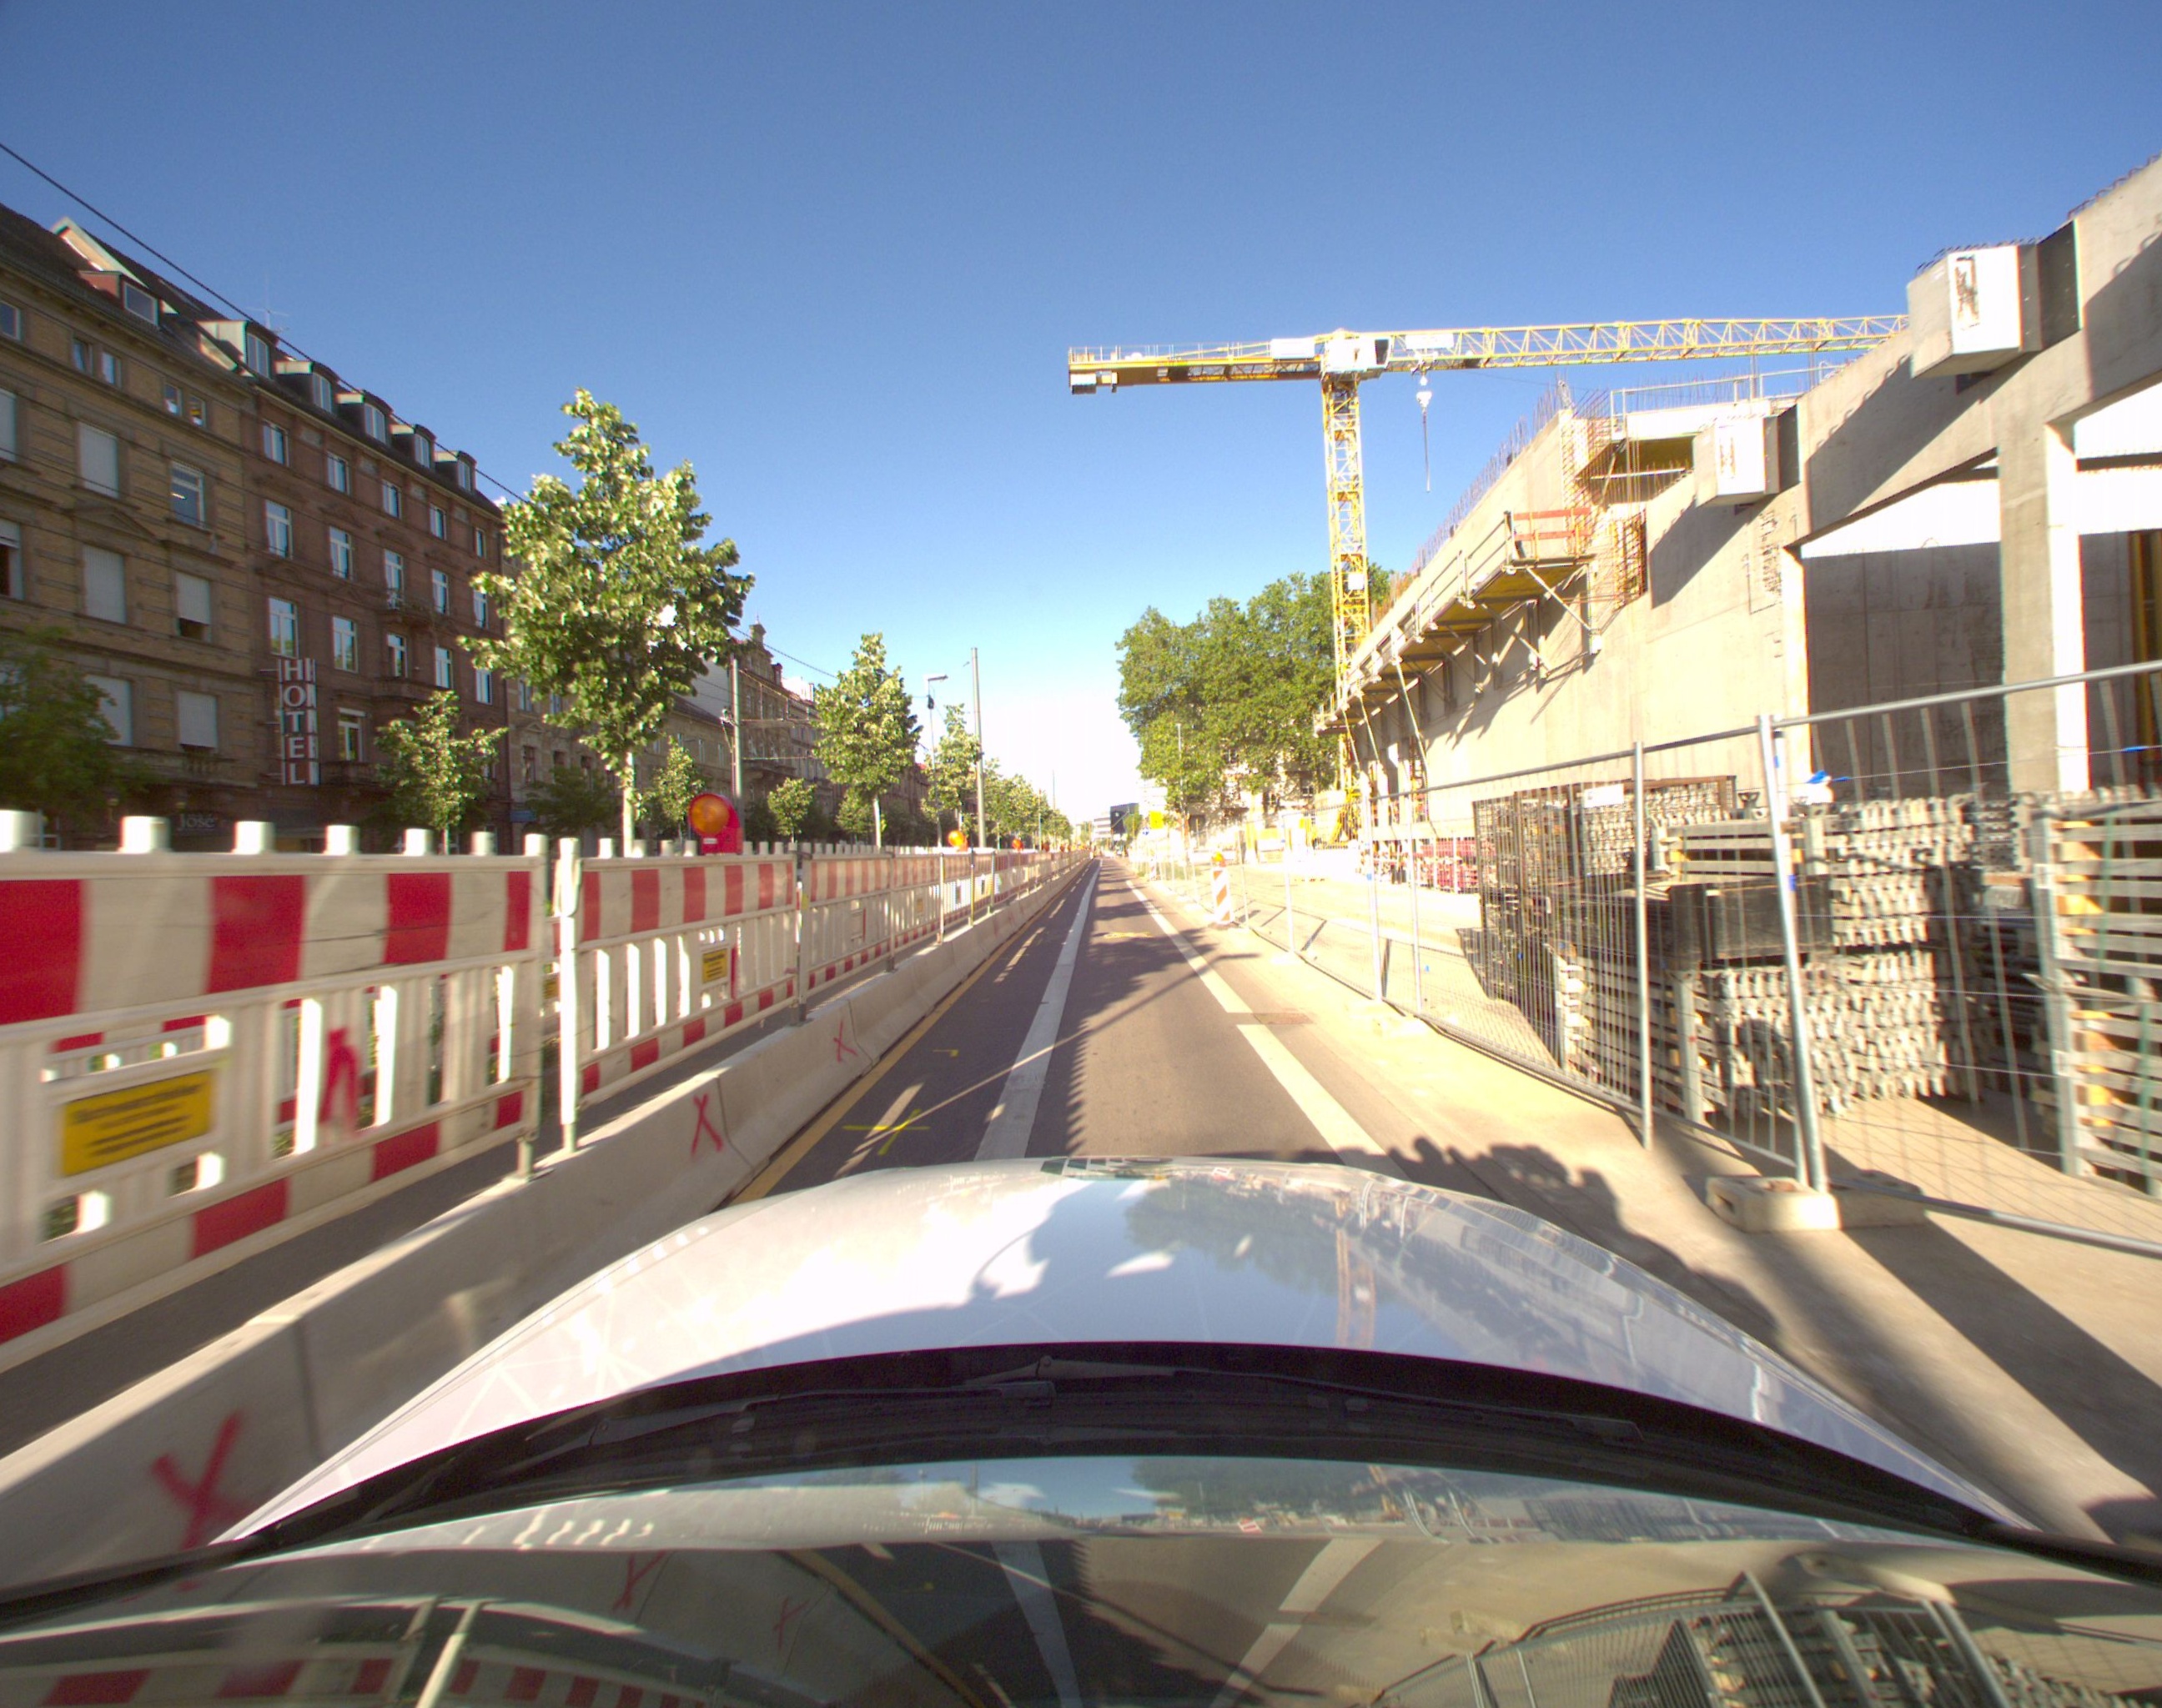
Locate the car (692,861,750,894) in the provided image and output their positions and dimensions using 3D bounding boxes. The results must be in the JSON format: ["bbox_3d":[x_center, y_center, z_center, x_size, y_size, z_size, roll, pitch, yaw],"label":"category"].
[{"bbox_3d":[-20.939,1.335,47.505,1.560,1.675,3.810,-2,0,2],"label":"car"}]

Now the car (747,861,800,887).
[{"bbox_3d":[-20.608,1.321,54.765,1.560,1.562,4.716,-2,0,2],"label":"car"}]

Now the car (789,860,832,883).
[{"bbox_3d":[-20.307,1.304,61.308,1.561,1.562,4.716,-2,0,1],"label":"car"}]

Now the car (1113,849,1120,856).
[{"bbox_3d":[10.350,-0.432,239.218,1.876,1.842,3.669,-2,0,2],"label":"car"}]

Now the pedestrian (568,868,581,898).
[{"bbox_3d":[-26.490,1.516,42.593,0.432,1.585,0.385,0,0,-1],"label":"pedestrian"}]

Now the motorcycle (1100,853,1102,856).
[{"bbox_3d":[5.762,0.057,234.060,0.628,0.896,1.621,-2,0,2],"label":"motorcycle"}]

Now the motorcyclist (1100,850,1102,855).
[{"bbox_3d":[5.738,-0.456,234.092,0.629,1.263,0.606,-2,0,1],"label":"motorcyclist"}]

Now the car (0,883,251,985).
[{"bbox_3d":[-17.764,1.363,14.756,1.588,1.483,3.626,-2,0,3],"label":"car"}]

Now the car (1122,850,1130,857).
[{"bbox_3d":[11.420,-0.120,206.821,1.876,1.842,3.669,-2,0,2],"label":"car"}]

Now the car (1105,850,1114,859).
[{"bbox_3d":[6.610,0.105,187.865,1.876,1.842,3.669,-2,0,2],"label":"car"}]

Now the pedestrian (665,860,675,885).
[{"bbox_3d":[-25.847,1.150,51.216,0.460,1.585,0.434,0,0,-5],"label":"pedestrian"}]

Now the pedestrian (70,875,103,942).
[{"bbox_3d":[-26.736,1.464,21.896,0.365,1.765,0.406,0,0,2],"label":"pedestrian"}]

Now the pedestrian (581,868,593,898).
[{"bbox_3d":[-25.871,1.523,42.664,0.427,1.585,0.339,0,0,2],"label":"pedestrian"}]
